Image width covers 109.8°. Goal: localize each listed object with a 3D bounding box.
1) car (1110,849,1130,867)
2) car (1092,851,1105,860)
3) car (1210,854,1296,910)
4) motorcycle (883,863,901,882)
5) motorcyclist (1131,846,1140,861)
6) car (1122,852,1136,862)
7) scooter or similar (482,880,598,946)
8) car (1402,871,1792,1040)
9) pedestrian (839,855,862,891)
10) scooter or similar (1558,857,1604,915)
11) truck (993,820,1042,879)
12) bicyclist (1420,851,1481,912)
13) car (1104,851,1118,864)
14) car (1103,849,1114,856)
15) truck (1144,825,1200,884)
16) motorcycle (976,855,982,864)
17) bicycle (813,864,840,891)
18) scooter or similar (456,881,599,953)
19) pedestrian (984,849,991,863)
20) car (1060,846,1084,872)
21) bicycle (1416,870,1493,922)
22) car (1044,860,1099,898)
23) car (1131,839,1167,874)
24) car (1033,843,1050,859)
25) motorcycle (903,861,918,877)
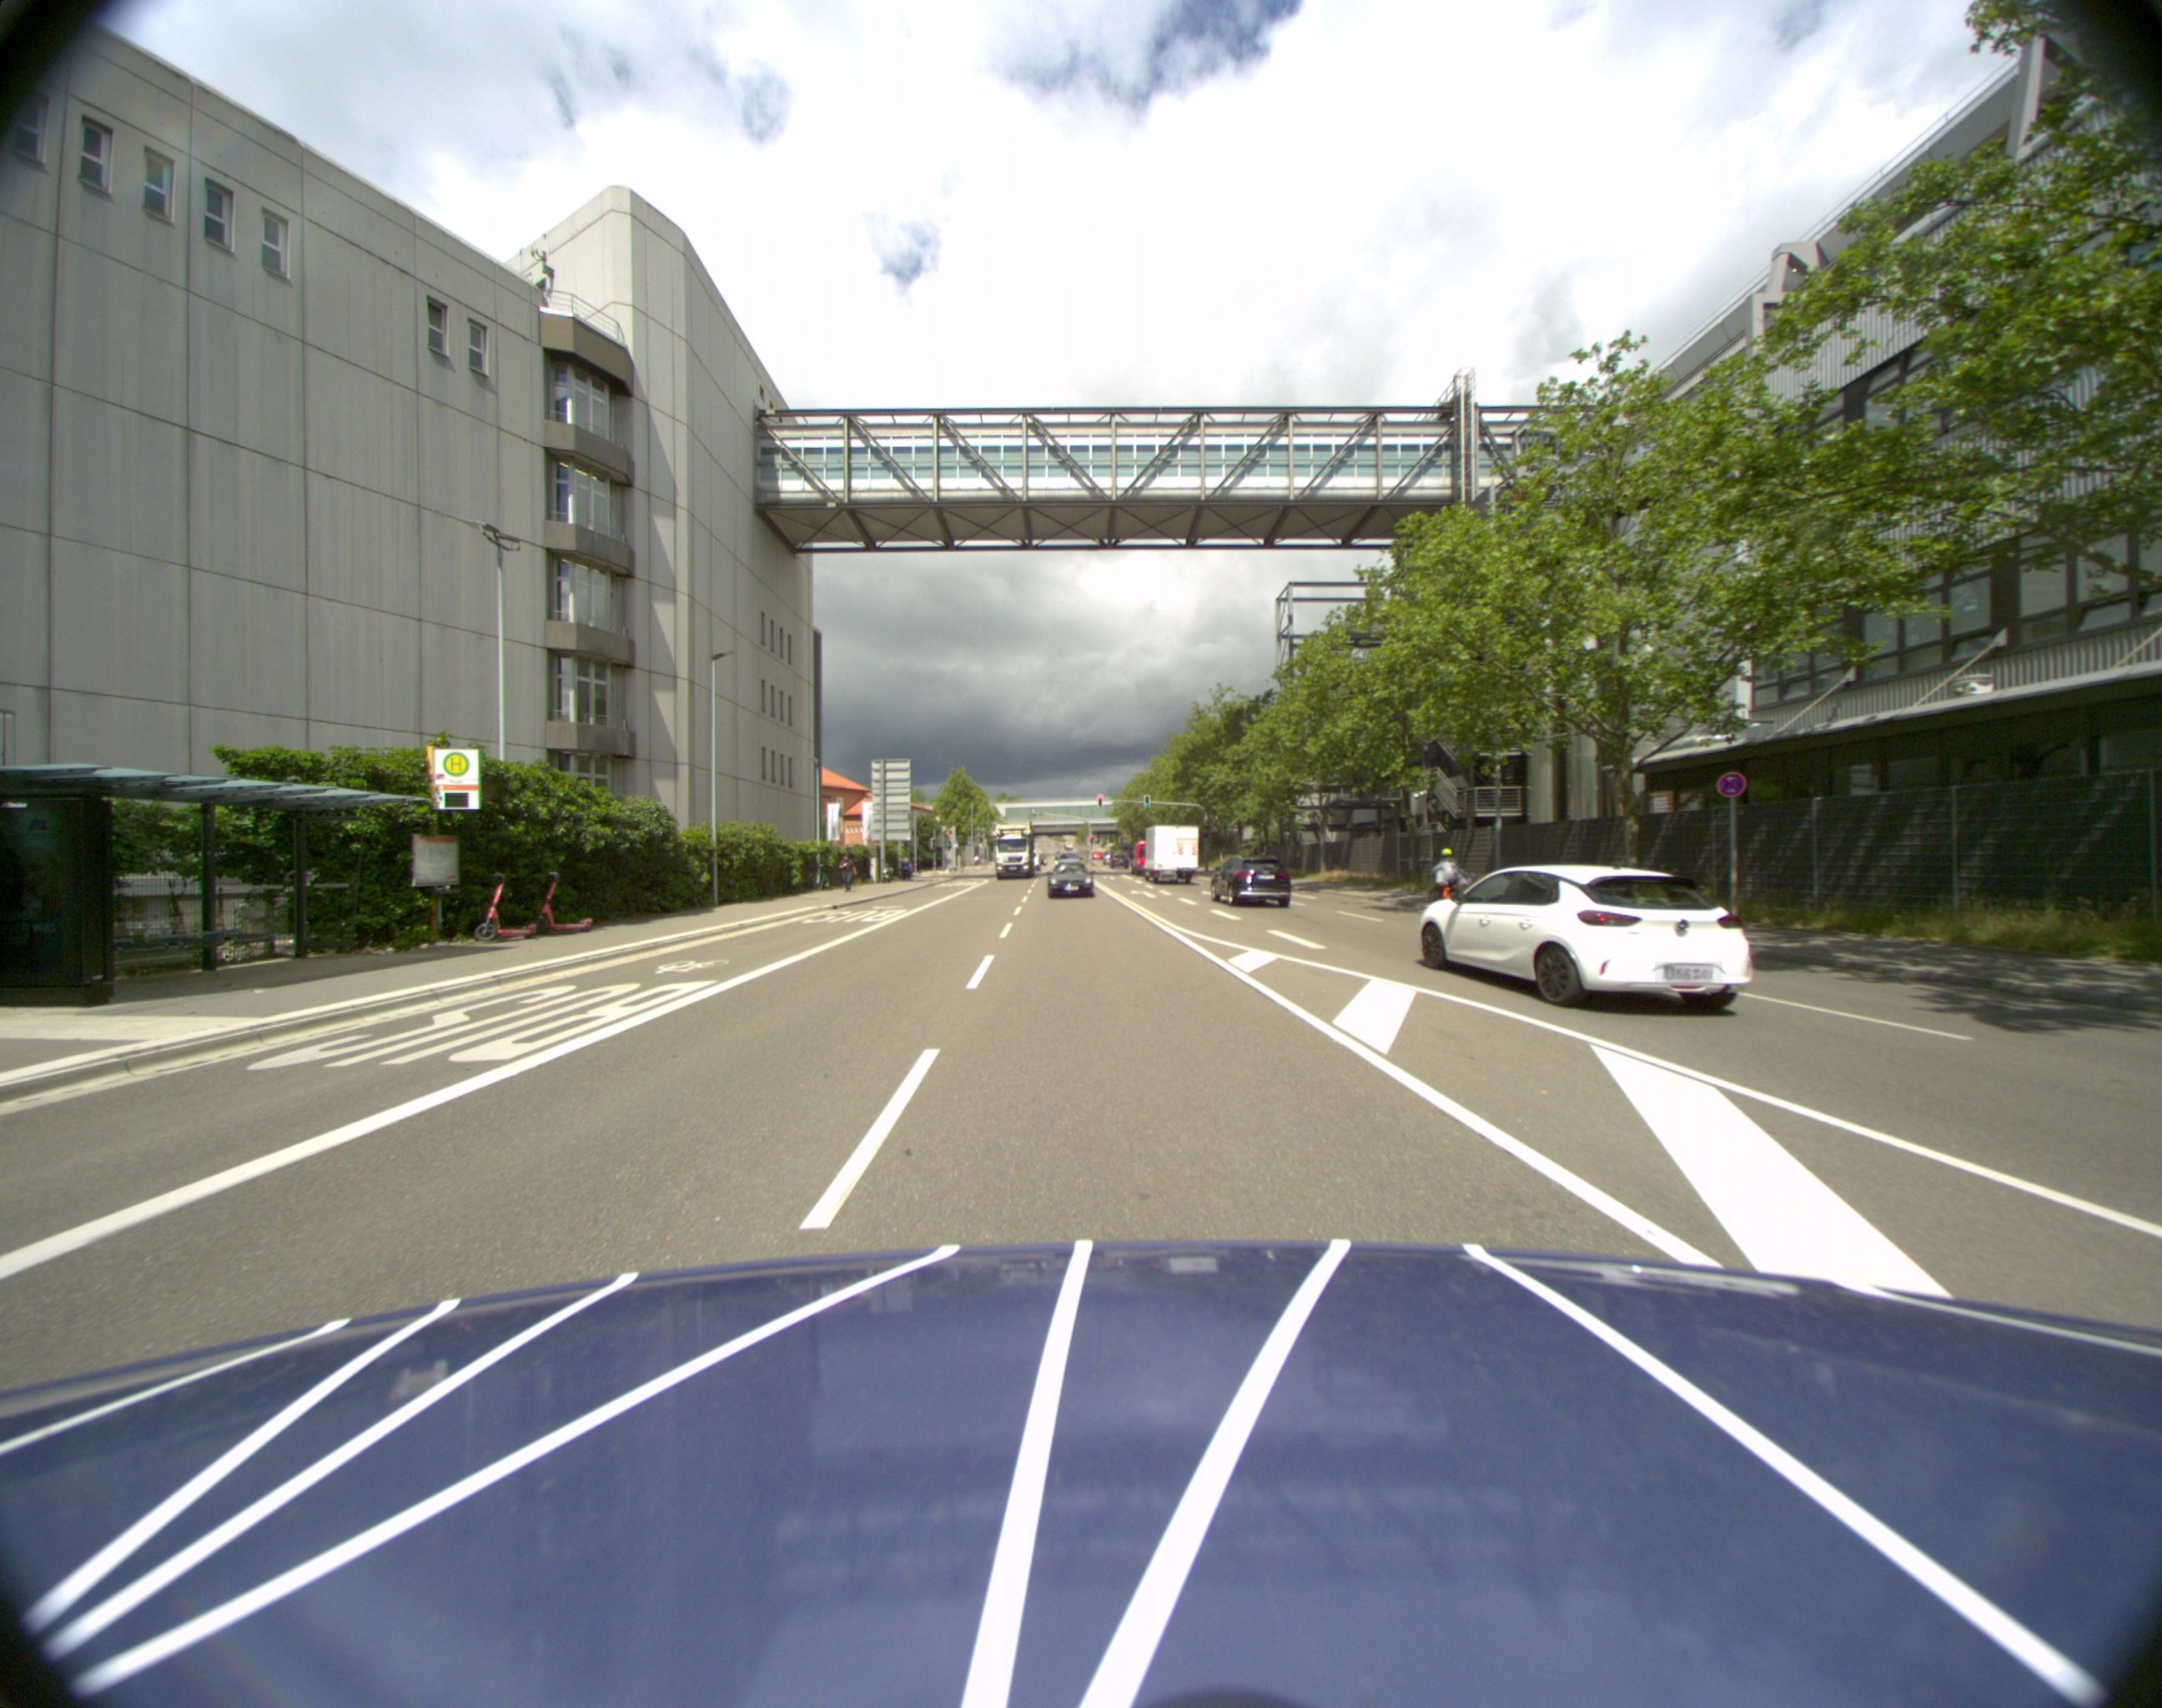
[{"bbox_3d":[4.109,0.386,79.953,1.740,1.674,4.212,-2,1,-1],"label":"car"},{"bbox_3d":[2.862,0.268,127.467,1.889,1.446,3.902,1,1,-2],"label":"car"},{"bbox_3d":[5.419,0.833,24.492,1.744,1.572,4.266,1,0,-1],"label":"car"},{"bbox_3d":[-11.439,1.103,46.048,0.592,1.061,2.036,0,0,-1],"label":"motorcycle"},{"bbox_3d":[6.124,-0.092,84.950,0.735,1.613,1.094,-2,1,-7],"label":"motorcyclist"},{"bbox_3d":[7.018,0.474,110.721,1.697,1.421,3.821,0,0,-2],"label":"car"},{"bbox_3d":[-10.533,1.114,14.868,0.542,1.156,1.795,0,0,26],"label":"scooter or similar"},{"bbox_3d":[5.534,0.961,8.931,1.696,1.406,4.145,1,0,-1],"label":"car"},{"bbox_3d":[-10.551,0.858,34.784,0.812,1.635,0.997,0,1,-3],"label":"pedestrian"},{"bbox_3d":[12.679,0.785,19.306,0.304,1.395,1.235,-2,1,-1],"label":"scooter or similar"},{"bbox_3d":[-4.500,-0.380,55.950,2.713,3.863,10.738,-2,1,-1],"label":"truck"},{"bbox_3d":[9.936,0.722,20.462,0.958,1.588,1.222,1,1,-4],"label":"bicyclist"},{"bbox_3d":[3.797,0.408,95.499,1.562,1.496,3.612,1,1,-1],"label":"car"},{"bbox_3d":[5.623,-0.302,155.536,1.999,1.446,4.767,1,1,-3],"label":"car"},{"bbox_3d":[5.062,-0.032,43.358,2.458,3.111,7.242,0,1,2],"label":"truck"},{"bbox_3d":[-12.883,0.690,96.195,0.571,1.219,2.175,0,1,-1],"label":"motorcycle"},{"bbox_3d":[-11.837,1.074,35.392,0.444,1.173,2.468,-2,1,-1],"label":"bicycle"},{"bbox_3d":[-10.202,1.126,14.110,0.542,1.156,2.131,0,0,26],"label":"scooter or similar"},{"bbox_3d":[-11.962,0.309,97.212,0.729,1.756,1.015,-2,1,-1],"label":"pedestrian"},{"bbox_3d":[-0.738,0.437,61.368,1.825,2.001,4.391,-1,-1,-1],"label":"car"},{"bbox_3d":[9.941,1.082,20.349,0.738,1.227,2.473,0,1,-3],"label":"bicycle"},{"bbox_3d":[-0.306,0.936,29.732,1.838,1.317,4.001,-3,0,3],"label":"car"},{"bbox_3d":[5.000,0.148,56.490,2.069,2.492,5.479,0,0,-1],"label":"car"},{"bbox_3d":[-5.080,-0.403,97.768,1.872,1.944,4.710,-3,1,0],"label":"car"},{"bbox_3d":[-11.639,1.025,51.909,0.592,1.061,2.037,1,0,-1],"label":"motorcycle"}]
